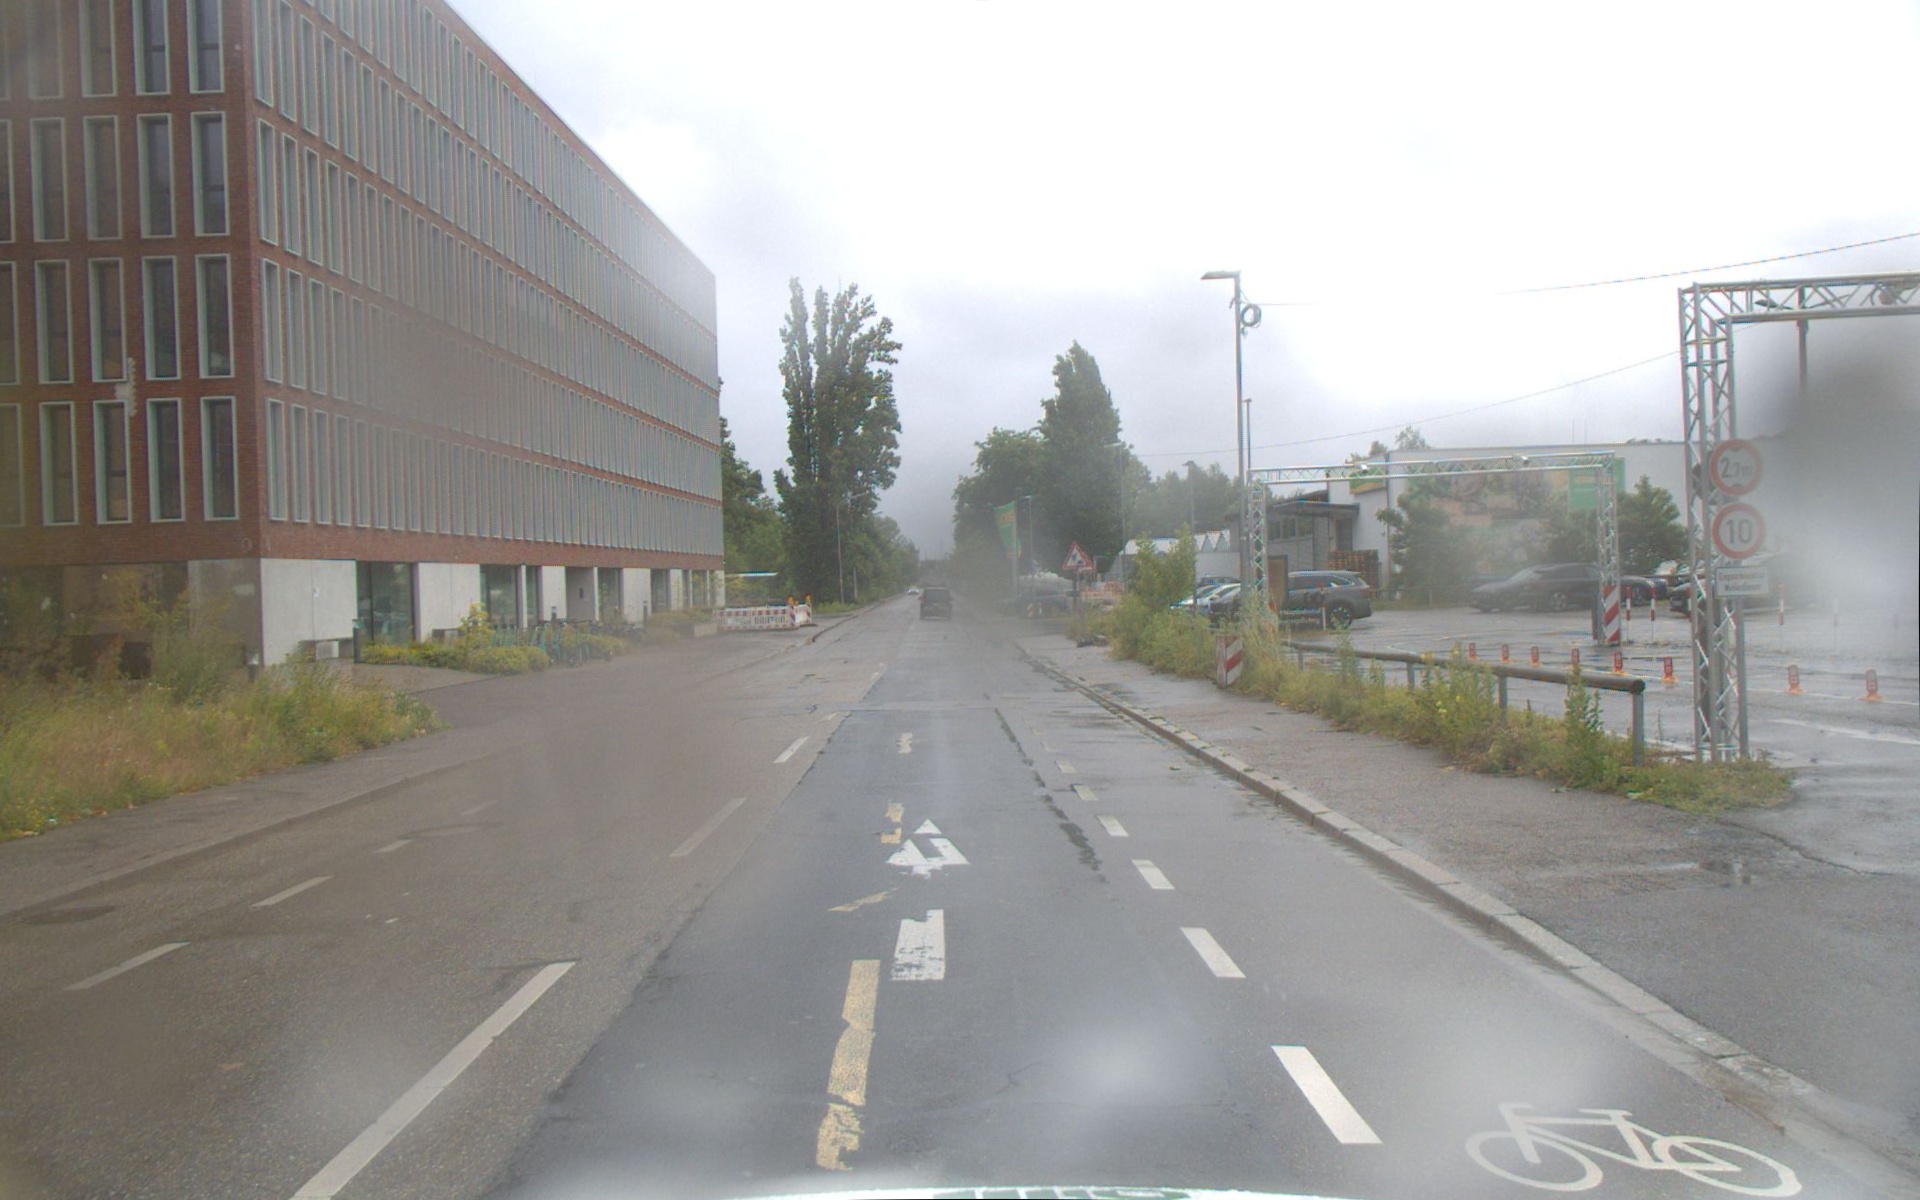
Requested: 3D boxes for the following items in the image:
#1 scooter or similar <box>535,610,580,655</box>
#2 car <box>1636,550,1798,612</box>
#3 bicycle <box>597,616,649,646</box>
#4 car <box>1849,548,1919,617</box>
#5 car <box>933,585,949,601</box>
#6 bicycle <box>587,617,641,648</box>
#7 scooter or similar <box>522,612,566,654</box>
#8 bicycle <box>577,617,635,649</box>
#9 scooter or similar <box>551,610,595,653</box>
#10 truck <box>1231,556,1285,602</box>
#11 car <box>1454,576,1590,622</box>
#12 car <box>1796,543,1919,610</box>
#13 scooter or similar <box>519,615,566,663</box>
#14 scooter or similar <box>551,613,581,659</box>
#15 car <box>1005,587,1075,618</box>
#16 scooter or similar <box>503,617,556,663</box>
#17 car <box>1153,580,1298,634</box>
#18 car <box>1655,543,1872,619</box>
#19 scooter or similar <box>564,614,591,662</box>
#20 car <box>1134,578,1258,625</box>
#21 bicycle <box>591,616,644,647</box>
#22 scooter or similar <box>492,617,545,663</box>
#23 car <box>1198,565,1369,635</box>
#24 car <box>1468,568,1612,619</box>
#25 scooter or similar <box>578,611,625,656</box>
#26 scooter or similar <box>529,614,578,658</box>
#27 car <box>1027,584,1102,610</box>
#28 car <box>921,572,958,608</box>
[{"bbox_3d":[-11.768,0.942,48.362,0.459,1.251,1.201,-2,0,41],"label":"scooter or similar"},{"bbox_3d":[25.088,-0.615,54.930,4.354,1.701,2.042,-4,-1,-4],"label":"car"},{"bbox_3d":[-12.464,1.129,61.146,1.822,1.096,0.544,0,0,-2],"label":"bicycle"},{"bbox_3d":[25.413,-0.572,41.889,4.608,1.633,2.043,-4,-1,-2],"label":"car"},{"bbox_3d":[-2.223,-0.833,191.846,1.694,1.716,3.898,-2,0,2],"label":"car"},{"bbox_3d":[-12.436,1.152,59.402,1.822,1.096,0.544,0,0,-2],"label":"bicycle"},{"bbox_3d":[-12.846,1.022,51.037,1.200,1.229,0.418,-3,0,6],"label":"scooter or similar"},{"bbox_3d":[-12.400,1.142,57.927,1.909,1.096,0.620,0,0,-2],"label":"bicycle"},{"bbox_3d":[-11.521,0.931,49.219,0.459,1.229,1.201,-2,0,41],"label":"scooter or similar"},{"bbox_3d":[19.051,-1.351,105.971,2.253,2.705,7.419,-3,0,2],"label":"truck"},{"bbox_3d":[18.929,-0.019,55.834,3.905,1.434,2.000,-1,-1,0],"label":"car"},{"bbox_3d":[26.311,-0.716,46.653,4.352,1.633,2.043,-4,-1,-2],"label":"car"},{"bbox_3d":[-11.266,1.054,44.647,1.295,1.251,0.506,-2,0,38],"label":"scooter or similar"},{"bbox_3d":[-11.094,1.014,46.565,0.461,1.251,1.308,-3,0,-29],"label":"scooter or similar"},{"bbox_3d":[4.721,0.145,97.885,4.050,1.596,1.765,-3,0,2],"label":"car"},{"bbox_3d":[-11.867,1.111,45.625,1.289,1.198,0.468,-3,0,5],"label":"scooter or similar"},{"bbox_3d":[8.233,0.227,51.570,4.208,1.543,1.819,-1,-1,0],"label":"car"},{"bbox_3d":[20.238,-0.464,41.777,4.531,1.746,2.016,-1,-1,-7],"label":"car"},{"bbox_3d":[-10.470,1.036,45.282,0.457,1.251,1.320,-3,0,-4],"label":"scooter or similar"},{"bbox_3d":[8.290,0.060,58.361,4.096,1.536,1.890,-1,-1,0],"label":"car"},{"bbox_3d":[-12.481,1.147,60.283,1.822,1.096,0.544,0,0,-2],"label":"bicycle"},{"bbox_3d":[-12.314,1.117,46.163,1.289,1.198,0.468,-3,0,5],"label":"scooter or similar"},{"bbox_3d":[9.393,0.017,48.304,4.583,1.765,2.129,-3,-1,3],"label":"car"},{"bbox_3d":[18.581,-0.194,53.143,3.905,1.511,2.000,-1,-1,0],"label":"car"},{"bbox_3d":[-10.393,0.975,47.892,1.291,1.251,0.467,-3,0,29],"label":"scooter or similar"},{"bbox_3d":[-11.668,1.037,47.514,1.294,1.198,0.466,-3,0,-13],"label":"scooter or similar"},{"bbox_3d":[6.625,-0.199,105.106,4.609,1.488,1.890,-1,1,-3],"label":"car"},{"bbox_3d":[-1.170,-0.544,93.324,1.953,1.943,4.199,-2,0,-2],"label":"car"}]
